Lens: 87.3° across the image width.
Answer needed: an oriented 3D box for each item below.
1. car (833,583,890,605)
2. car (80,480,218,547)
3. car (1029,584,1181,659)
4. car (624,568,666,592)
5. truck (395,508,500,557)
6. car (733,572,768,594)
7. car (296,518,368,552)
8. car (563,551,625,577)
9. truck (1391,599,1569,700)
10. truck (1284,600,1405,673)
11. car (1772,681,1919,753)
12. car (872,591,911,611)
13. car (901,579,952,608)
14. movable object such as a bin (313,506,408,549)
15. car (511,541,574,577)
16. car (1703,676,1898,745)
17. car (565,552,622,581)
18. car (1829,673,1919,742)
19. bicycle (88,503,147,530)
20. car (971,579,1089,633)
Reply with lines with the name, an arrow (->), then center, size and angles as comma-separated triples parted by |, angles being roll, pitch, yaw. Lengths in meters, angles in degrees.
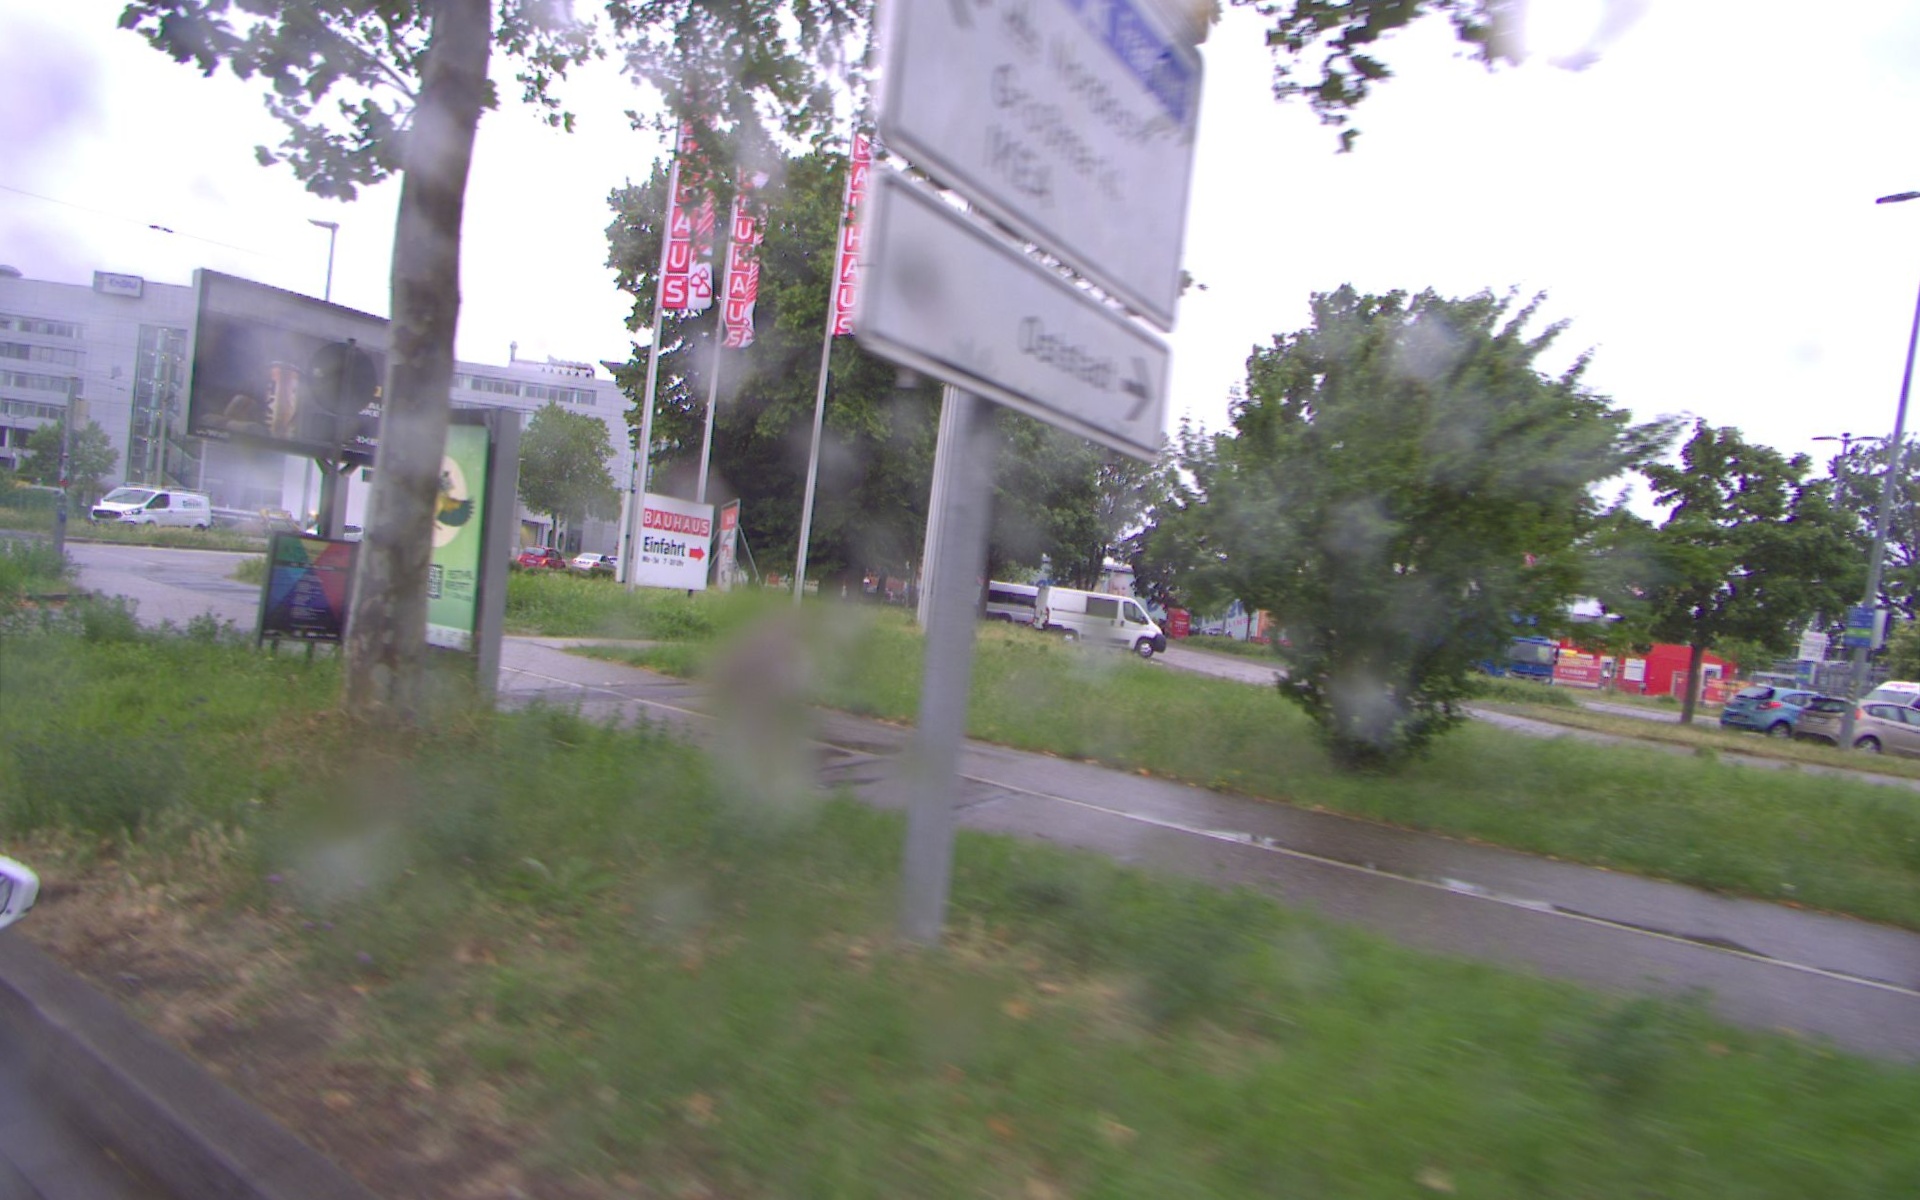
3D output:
car -> -10.484, -0.639, 107.708 | 5.853, 1.753, 2.276 | 6, 1, -3
car -> -32.990, -3.454, 41.110 | 1.964, 2.152, 4.684 | 6, 0, -5
car -> 5.366, 0.784, 37.631 | 5.015, 2.232, 2.188 | 6, 1, -9
car -> -24.298, -1.532, 77.667 | 1.892, 1.606, 4.622 | 6, 0, -4
truck -> -47.736, -6.265, 93.868 | 7.747, 3.552, 3.325 | 6, 1, -4
car -> -17.126, -1.344, 82.364 | 1.892, 1.509, 4.828 | 6, 0, -2
car -> -37.907, -3.881, 60.848 | 1.744, 1.641, 4.378 | 6, 0, -4
car -> -34.713, -3.419, 95.488 | 4.966, 1.674, 1.882 | 7, -2, 0
truck -> 21.873, 1.917, 42.966 | 2.507, 3.513, 8.008 | 7, 0, -4
truck -> 21.623, 1.946, 57.303 | 2.507, 3.511, 9.397 | 8, -1, -2
car -> 22.435, 2.905, 24.227 | 3.972, 1.309, 1.869 | 6, 1, 7
car -> -7.052, 0.123, 103.322 | 3.749, 1.509, 1.677 | 7, -1, -5
car -> -3.250, -0.621, 97.254 | 4.670, 2.241, 1.964 | 6, 1, -3
movable object such as a bin -> -55.653, -6.696, 93.520 | 6.601, 3.034, 3.325 | 6, 1, -5
car -> -22.549, -2.183, 54.446 | 1.647, 1.508, 3.818 | 7, -1, 0
car -> 22.972, 3.007, 27.563 | 3.980, 1.309, 1.865 | 6, 1, -10
car -> -23.260, -2.101, 64.067 | 1.892, 1.509, 4.828 | 6, 0, -2
car -> 38.920, 4.518, 40.810 | 5.419, 2.391, 2.328 | 6, 0, -7
bicycle -> -44.082, -4.362, 52.668 | 2.294, 1.059, 0.840 | 6, 1, -39
car -> 3.719, 0.321, 54.322 | 5.955, 2.232, 2.190 | 6, 1, -3
